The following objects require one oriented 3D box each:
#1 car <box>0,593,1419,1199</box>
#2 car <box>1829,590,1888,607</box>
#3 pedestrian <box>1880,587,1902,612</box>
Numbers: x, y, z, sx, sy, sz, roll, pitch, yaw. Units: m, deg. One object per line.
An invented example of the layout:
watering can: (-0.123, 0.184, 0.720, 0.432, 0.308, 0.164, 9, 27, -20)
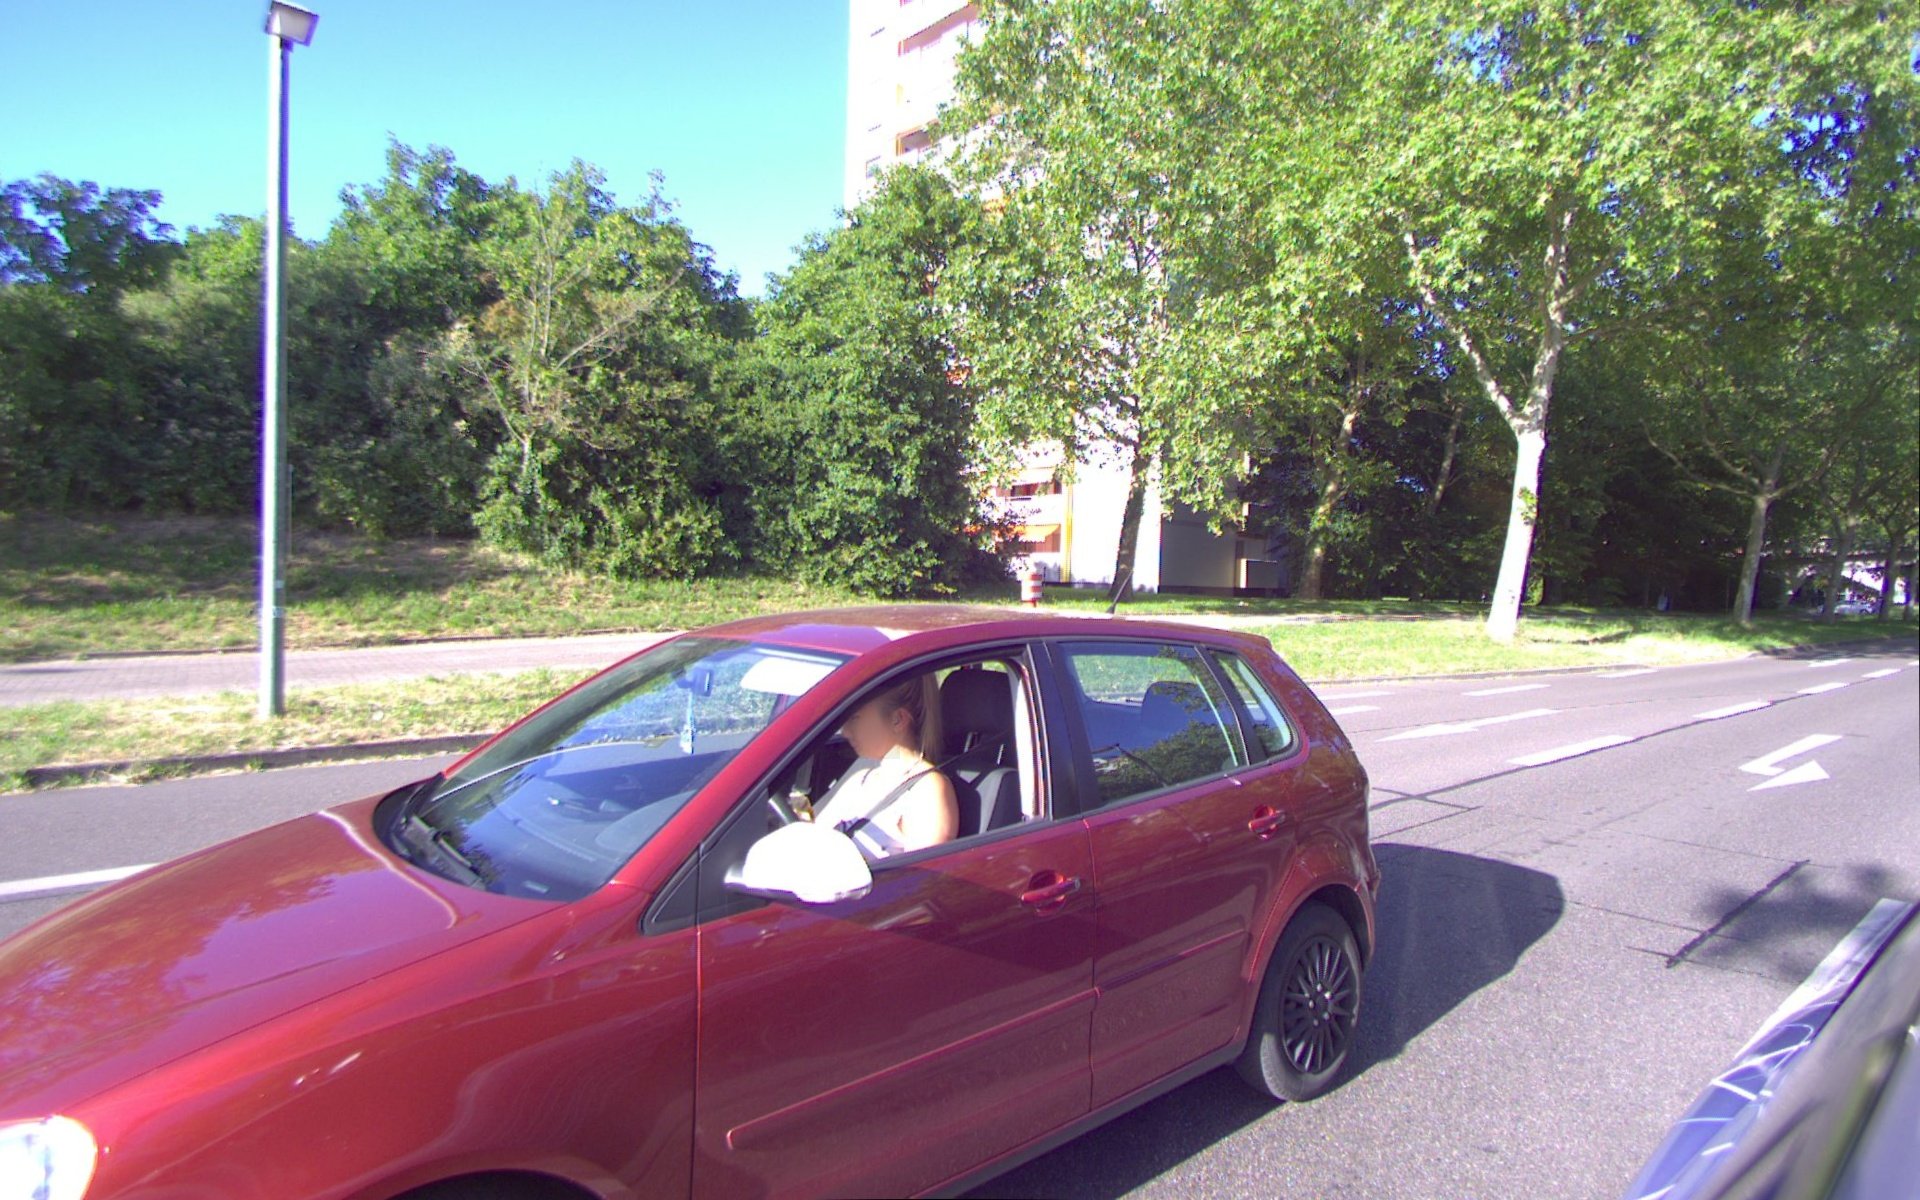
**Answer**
car: (-0.432, 0.723, 2.781, 3.694, 1.456, 1.645, -1, 1, -40)
car: (81.084, -0.120, 91.390, 3.983, 1.493, 1.772, 0, 0, 42)
pedestrian: (75.165, -0.059, 81.718, 0.943, 2.039, 0.920, 0, 0, -5)
